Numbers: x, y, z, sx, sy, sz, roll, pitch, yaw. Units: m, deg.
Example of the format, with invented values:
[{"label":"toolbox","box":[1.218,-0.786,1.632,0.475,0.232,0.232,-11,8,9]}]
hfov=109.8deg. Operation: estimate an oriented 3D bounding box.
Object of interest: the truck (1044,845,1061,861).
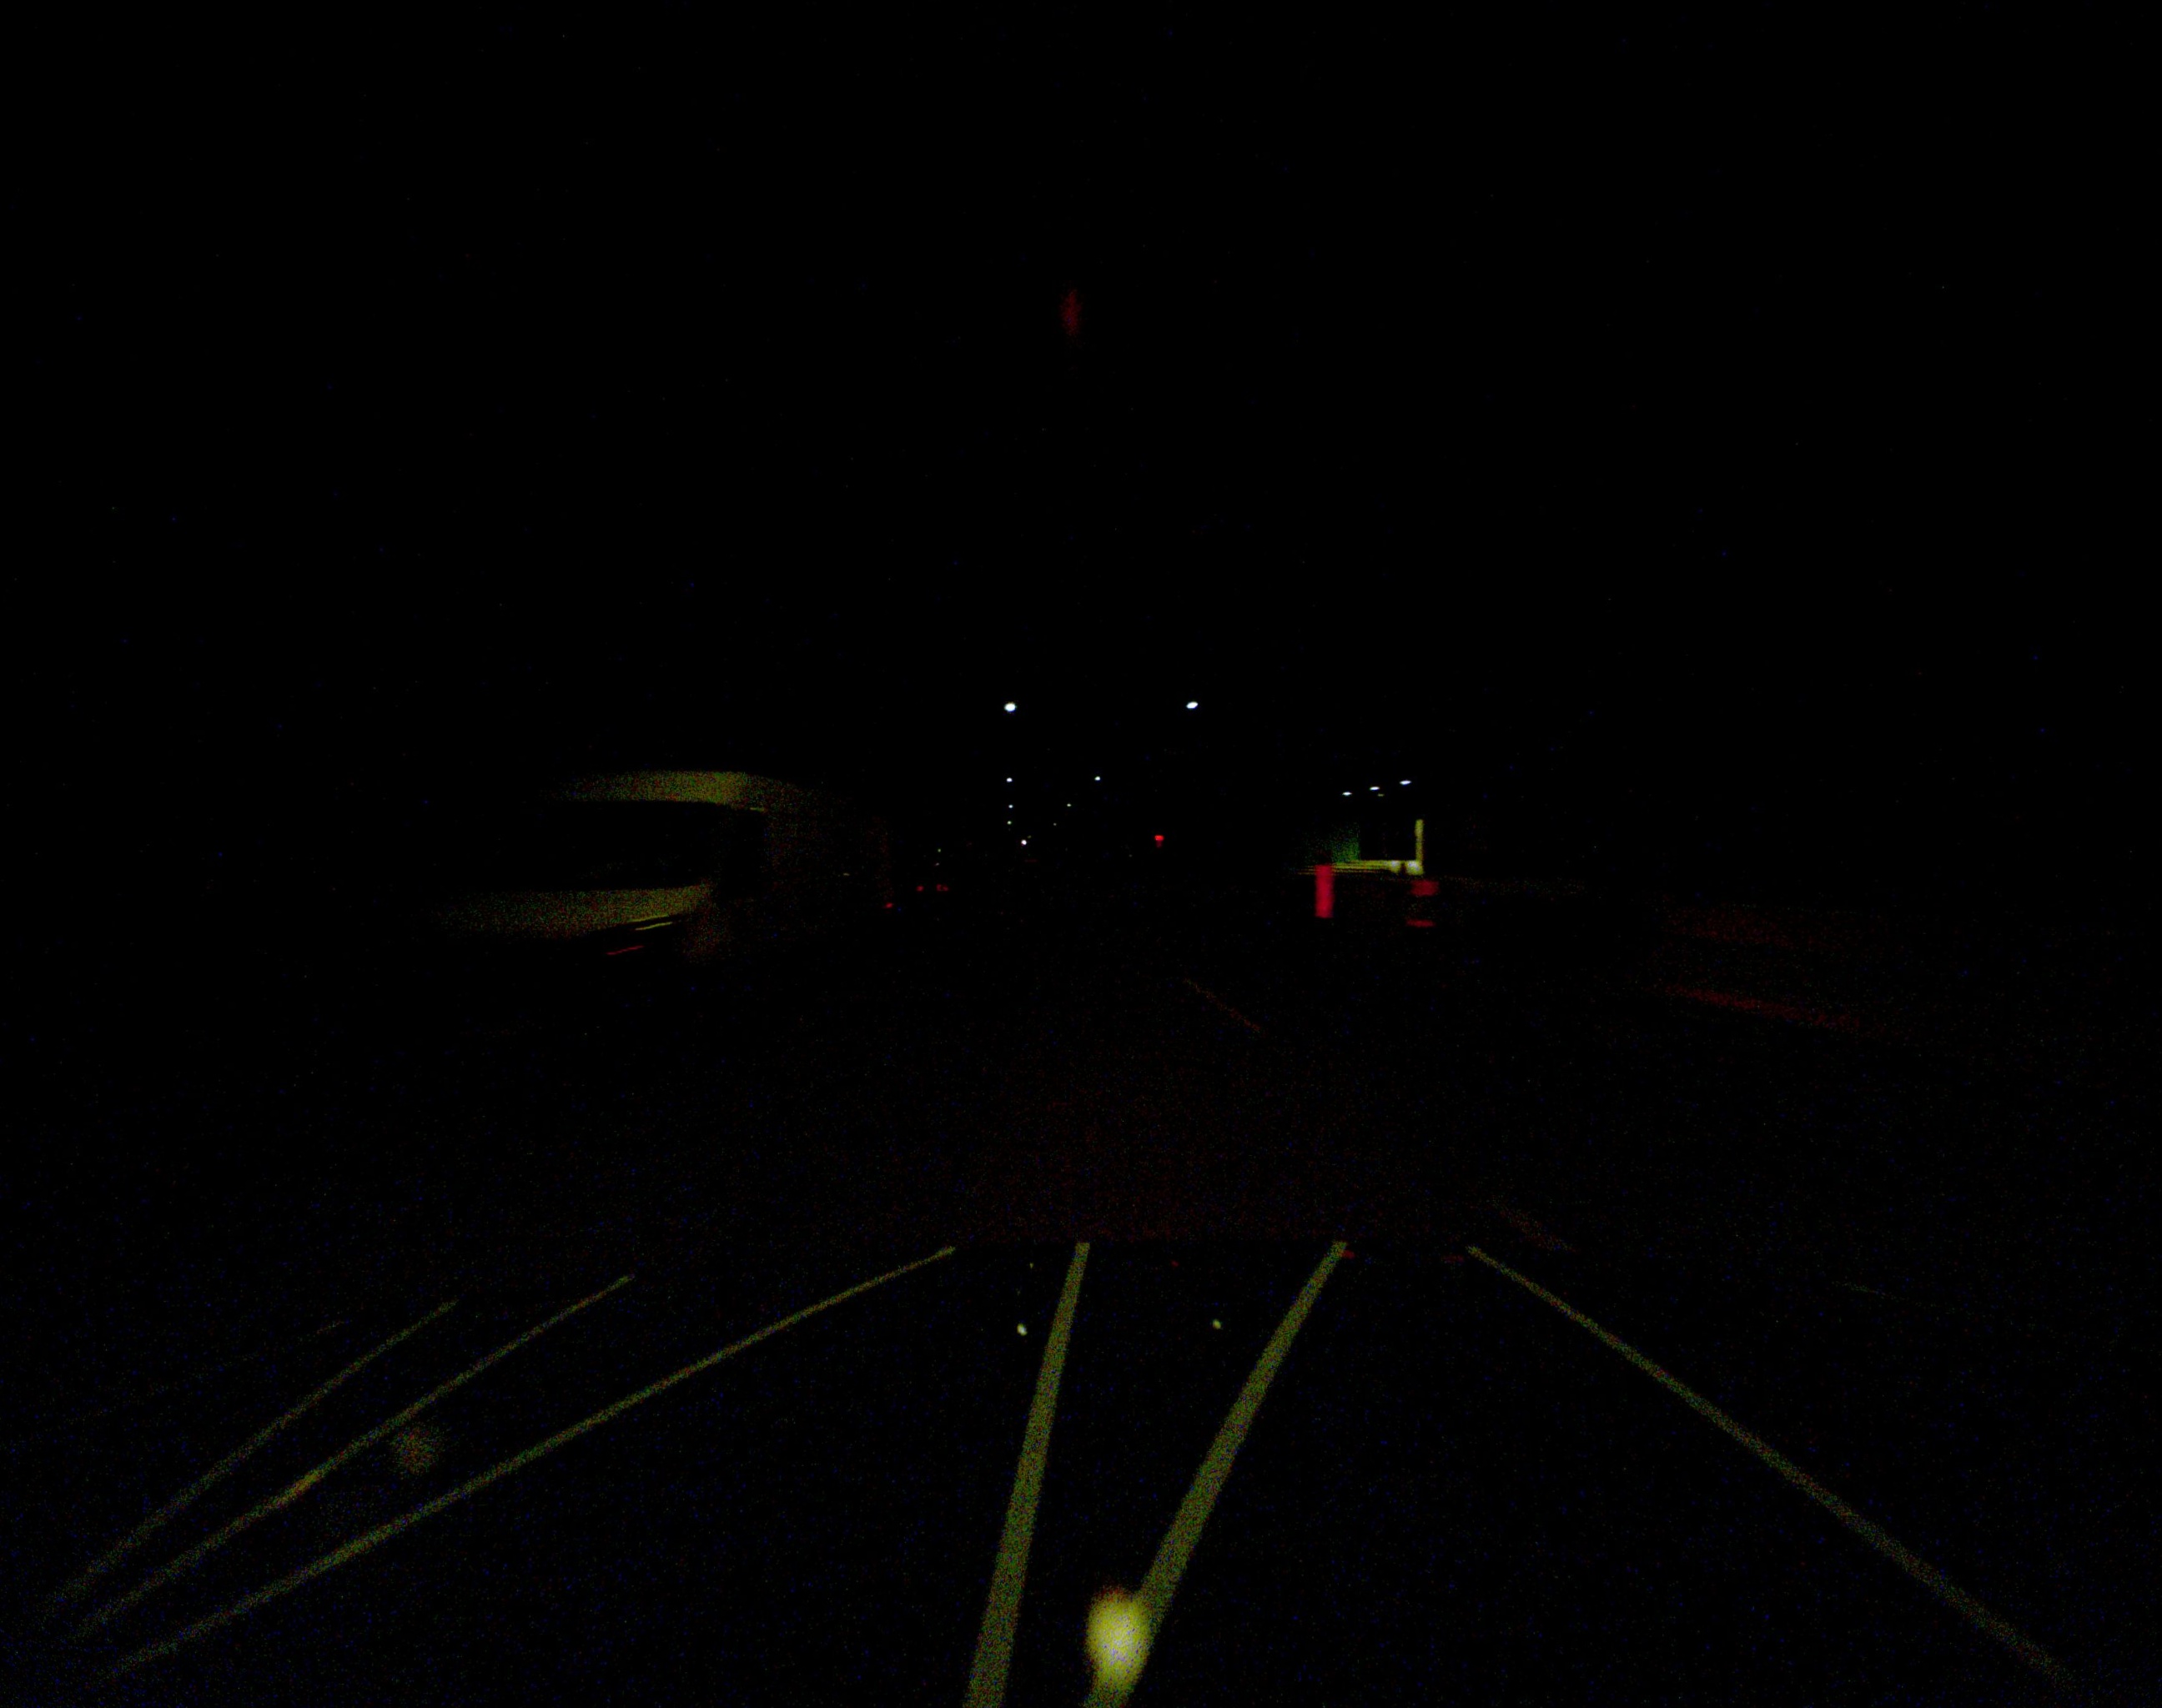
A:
[{"label":"truck","box":[-6.843,-0.128,181.655,2.831,3.610,10.393,-1,0,-9]}]

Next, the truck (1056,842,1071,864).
[{"label":"truck","box":[-3.638,-0.212,153.684,2.645,4.289,12.818,2,1,-3]}]

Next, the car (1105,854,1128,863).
[{"label":"car","box":[6.523,0.860,140.200,3.999,1.455,1.805,-4,0,-8]}]

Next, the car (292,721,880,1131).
[{"label":"car","box":[-3.889,0.449,7.886,2.114,2.501,6.370,-1,0,-2]}]

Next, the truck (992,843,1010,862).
[{"label":"truck","box":[-16.900,-0.331,160.650,2.516,3.815,12.657,-1,0,0]}]

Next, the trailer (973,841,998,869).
[{"label":"trailer","box":[-9.284,0.071,73.890,1.999,2.635,3.999,-1,0,-2]}]

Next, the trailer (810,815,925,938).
[{"label":"trailer","box":[-4.802,0.455,17.802,1.637,2.459,5.025,-1,0,-5]}]

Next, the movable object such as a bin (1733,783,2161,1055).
[{"label":"movable object such as a bin","box":[9.430,0.578,8.464,1.555,2.453,2.833,1,1,-26]}]

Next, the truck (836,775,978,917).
[{"label":"truck","box":[-5.371,-0.247,25.404,3.334,3.846,9.322,-1,1,-5]}]

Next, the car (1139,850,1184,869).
[{"label":"car","box":[8.560,0.616,81.143,4.445,1.960,1.999,-1,0,-6]}]

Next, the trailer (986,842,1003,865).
[{"label":"trailer","box":[-12.422,-0.055,108.903,2.406,3.306,4.359,-1,0,-8]}]
